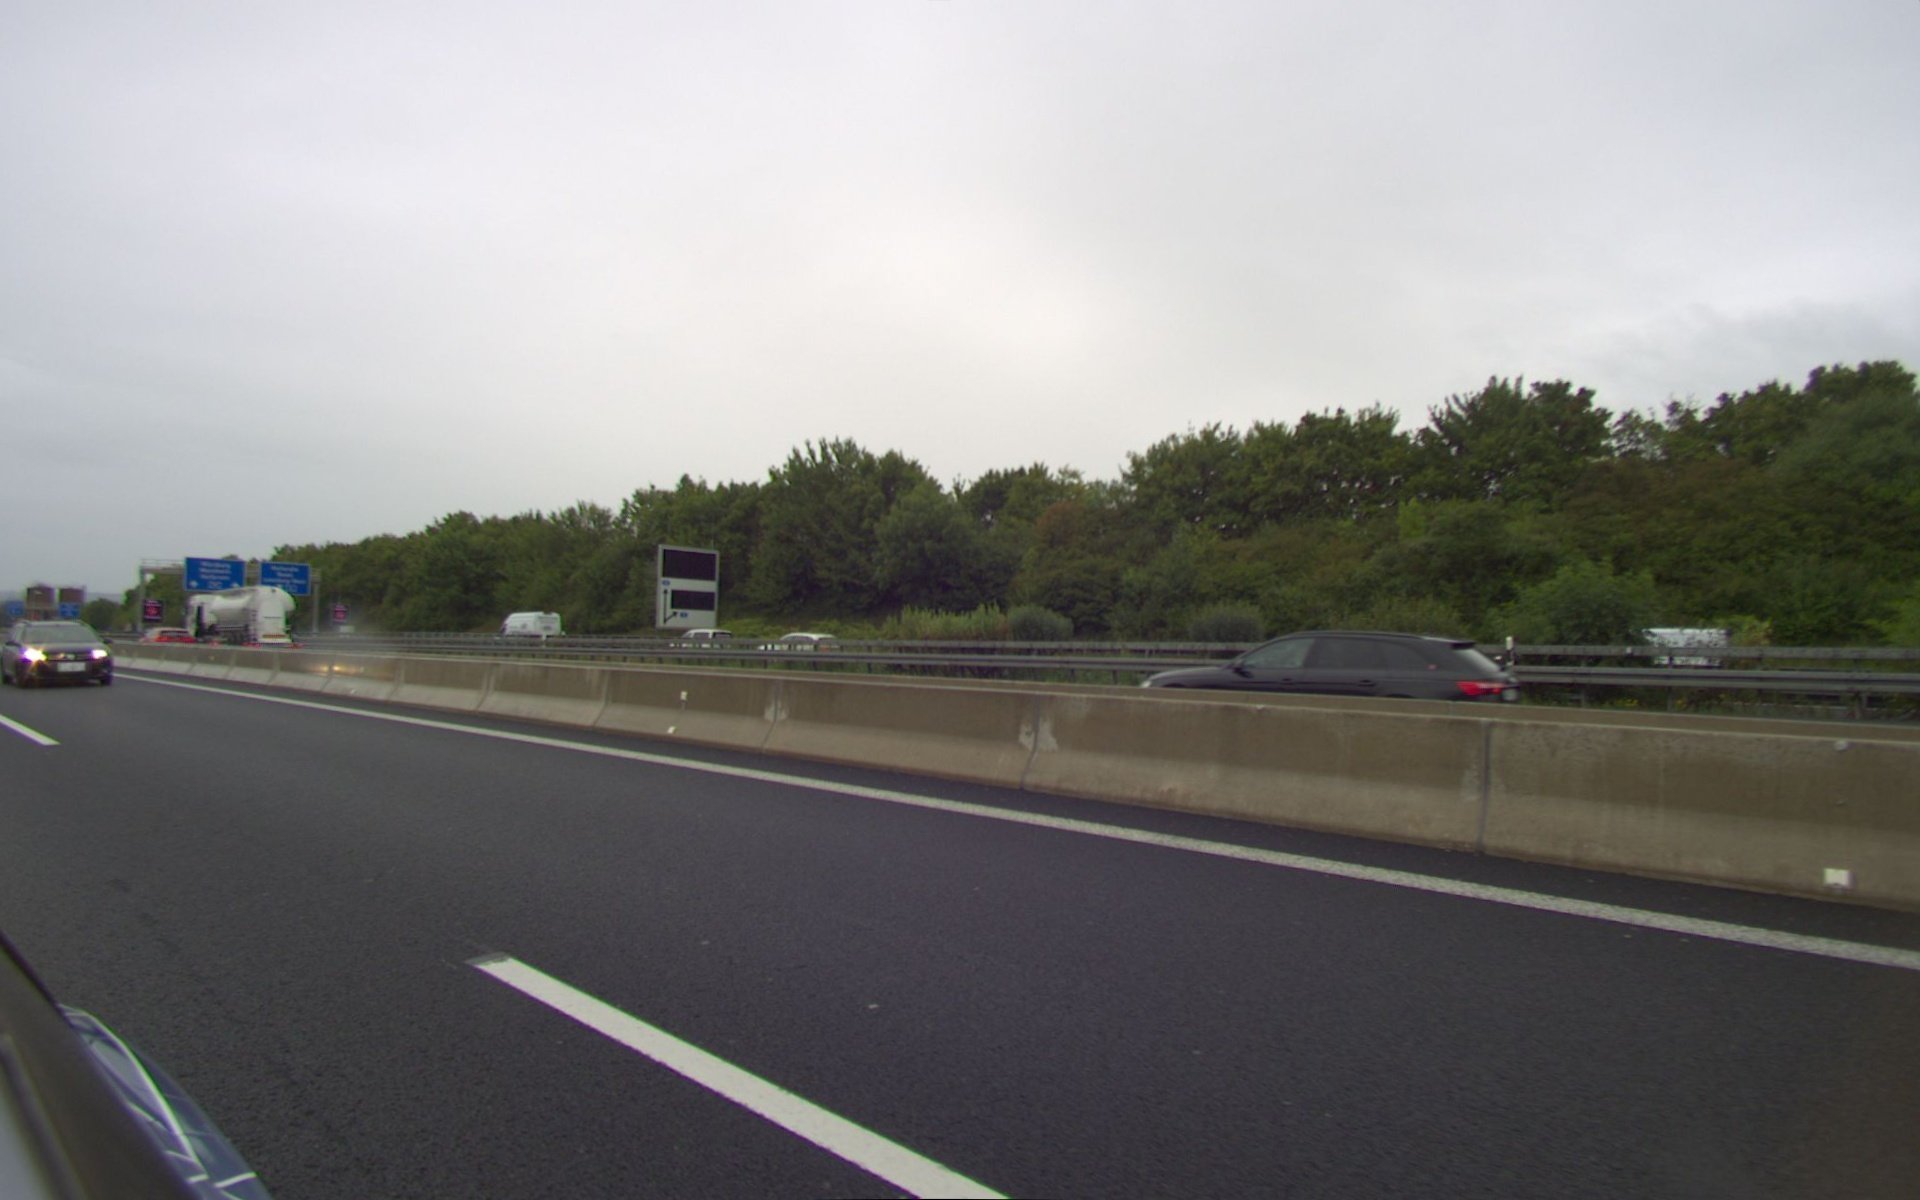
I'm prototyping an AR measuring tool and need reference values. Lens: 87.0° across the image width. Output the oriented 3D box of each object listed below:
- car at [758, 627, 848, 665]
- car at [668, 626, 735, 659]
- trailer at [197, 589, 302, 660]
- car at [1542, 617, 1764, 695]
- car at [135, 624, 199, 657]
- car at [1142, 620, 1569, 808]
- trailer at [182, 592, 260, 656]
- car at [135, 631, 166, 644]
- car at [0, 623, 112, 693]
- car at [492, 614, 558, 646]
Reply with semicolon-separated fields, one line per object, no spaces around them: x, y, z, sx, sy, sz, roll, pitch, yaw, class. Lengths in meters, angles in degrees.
-6.818;1.953;43.661;3.998;1.519;1.686;-1;-2;41;car
-14.818;2.392;57.931;3.995;1.783;1.687;-1;-1;38;car
-41.355;1.390;58.701;10.807;3.765;2.608;-1;-2;42;trailer
17.479;1.357;25.661;4.412;1.800;1.781;-2;-2;43;car
-40.729;2.035;51.960;4.354;1.592;1.789;-1;-2;41;car
4.684;1.198;12.464;4.542;1.890;1.875;-1;-2;43;car
-45.894;1.468;62.771;6.489;3.744;2.608;-1;-2;42;trailer
-95.678;4.432;119.600;4.562;1.467;1.801;-1;-1;38;car
-21.707;1.307;24.069;4.565;1.501;1.703;-1;-2;41;car
-28.399;1.934;66.052;5.296;2.029;1.854;-1;-2;41;car
